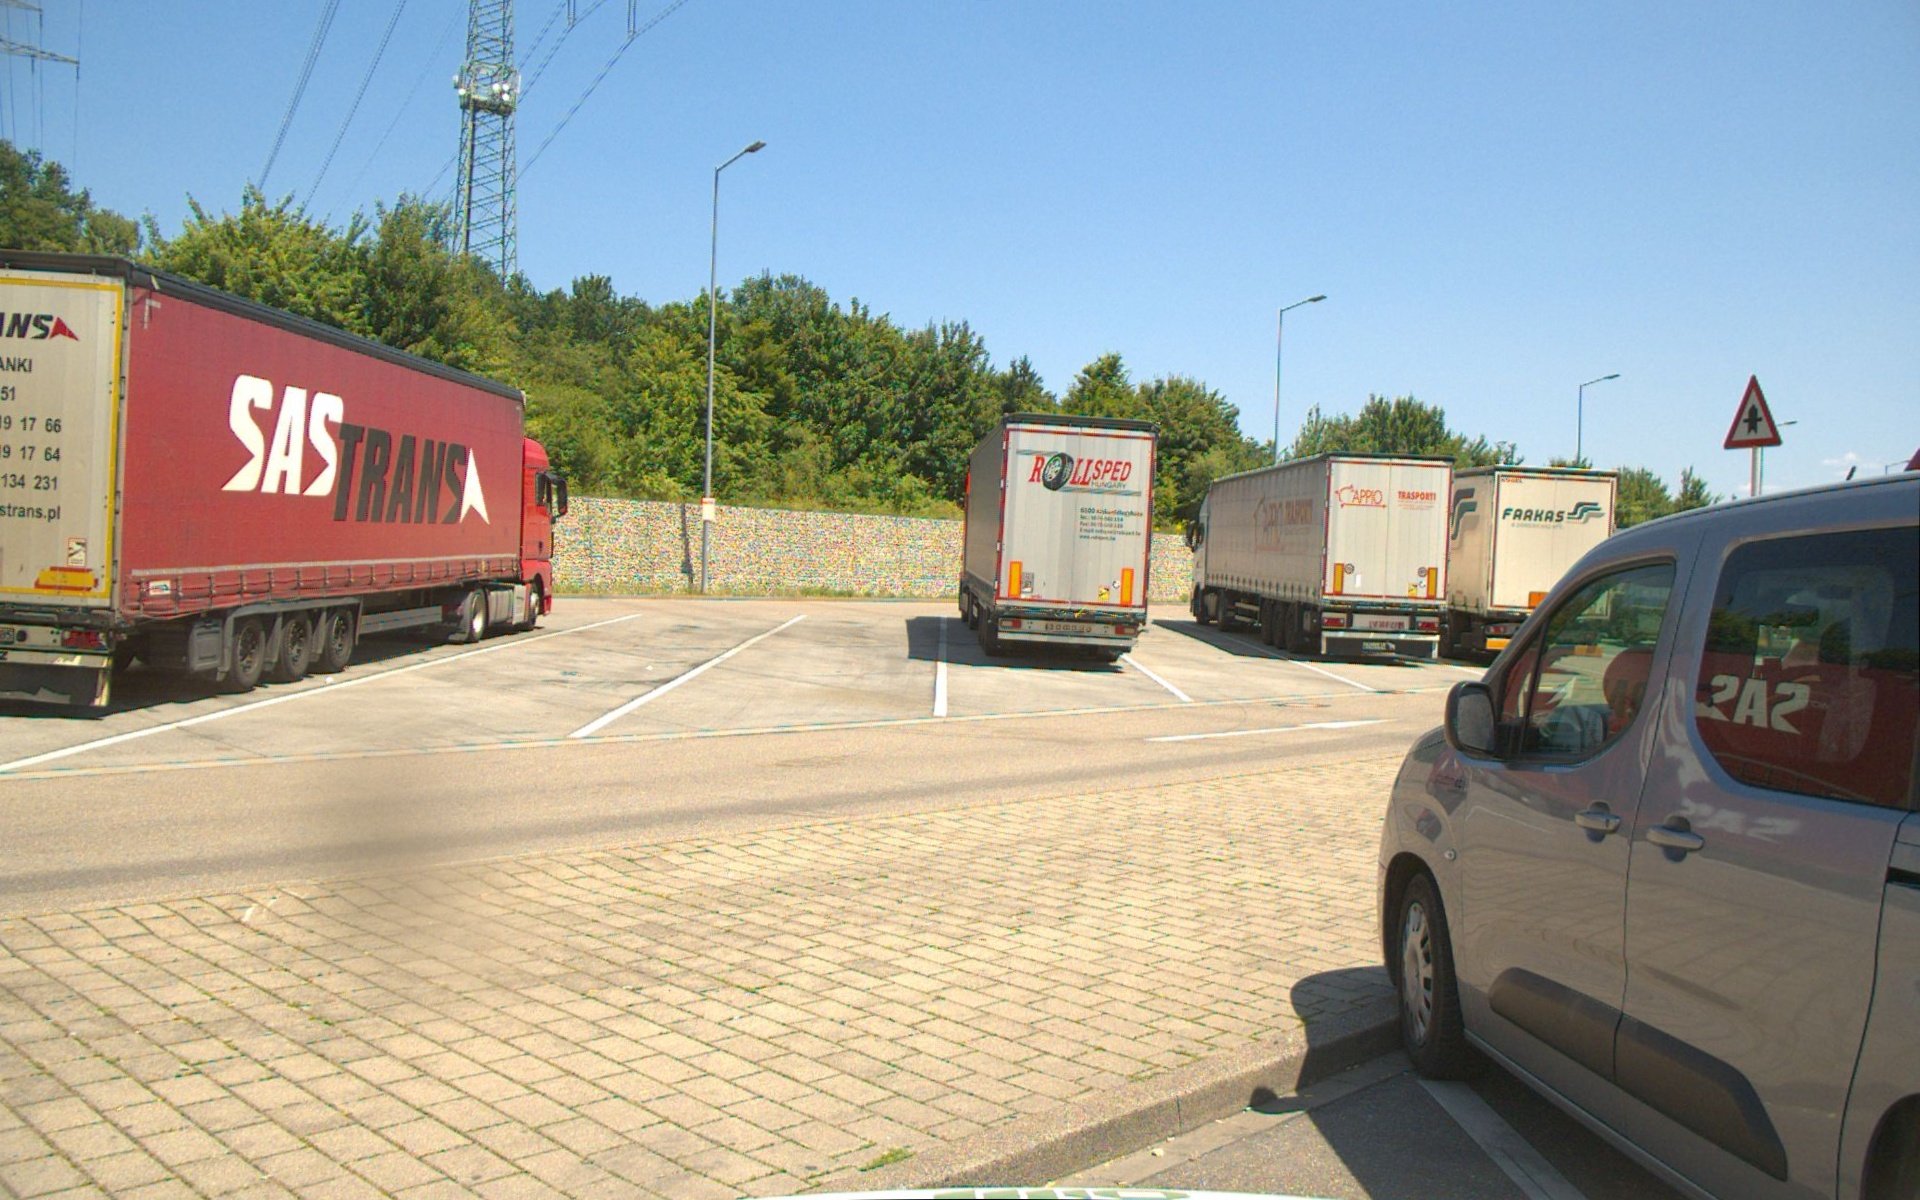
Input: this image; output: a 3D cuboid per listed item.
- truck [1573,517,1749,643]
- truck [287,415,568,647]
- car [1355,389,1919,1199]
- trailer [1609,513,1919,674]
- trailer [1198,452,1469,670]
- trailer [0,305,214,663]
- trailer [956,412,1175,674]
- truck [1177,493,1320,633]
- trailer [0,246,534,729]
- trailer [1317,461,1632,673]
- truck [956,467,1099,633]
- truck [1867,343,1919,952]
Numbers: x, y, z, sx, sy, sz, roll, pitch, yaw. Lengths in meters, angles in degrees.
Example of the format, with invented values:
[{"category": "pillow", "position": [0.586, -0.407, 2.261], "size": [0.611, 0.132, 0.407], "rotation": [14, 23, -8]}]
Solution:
[{"category": "truck", "position": [21.780, -0.700, 51.758], "size": [2.746, 3.582, 5.900], "rotation": [3, 2, -1]}, {"category": "truck", "position": [-8.775, -1.155, 28.027], "size": [2.793, 3.385, 5.900], "rotation": [3, 2, -1]}, {"category": "car", "position": [2.455, 0.603, 3.878], "size": [1.832, 1.896, 4.174], "rotation": [3, 1, -2]}, {"category": "trailer", "position": [21.858, -0.395, 44.528], "size": [2.754, 3.568, 14.395], "rotation": [3, 2, -1]}, {"category": "trailer", "position": [8.186, -1.034, 38.873], "size": [2.754, 4.058, 14.395], "rotation": [3, 2, -1]}, {"category": "trailer", "position": [-12.537, -1.339, 17.734], "size": [2.739, 4.155, 14.131], "rotation": [3, 2, -1]}, {"category": "trailer", "position": [1.673, -1.198, 33.663], "size": [3.070, 4.058, 14.393], "rotation": [3, 2, -1]}, {"category": "truck", "position": [8.068, -1.098, 46.972], "size": [2.804, 3.582, 5.900], "rotation": [3, 2, -1]}, {"category": "trailer", "position": [-8.710, -1.294, 21.456], "size": [2.735, 4.155, 14.131], "rotation": [3, 2, -1]}, {"category": "trailer", "position": [11.749, -0.939, 39.977], "size": [2.754, 4.058, 14.395], "rotation": [3, 2, -1]}, {"category": "truck", "position": [1.516, -1.244, 40.554], "size": [3.041, 3.628, 5.900], "rotation": [3, 2, -1]}, {"category": "truck", "position": [5.017, 0.200, 5.001], "size": [1.937, 2.668, 5.307], "rotation": [1, 0, 4]}]
